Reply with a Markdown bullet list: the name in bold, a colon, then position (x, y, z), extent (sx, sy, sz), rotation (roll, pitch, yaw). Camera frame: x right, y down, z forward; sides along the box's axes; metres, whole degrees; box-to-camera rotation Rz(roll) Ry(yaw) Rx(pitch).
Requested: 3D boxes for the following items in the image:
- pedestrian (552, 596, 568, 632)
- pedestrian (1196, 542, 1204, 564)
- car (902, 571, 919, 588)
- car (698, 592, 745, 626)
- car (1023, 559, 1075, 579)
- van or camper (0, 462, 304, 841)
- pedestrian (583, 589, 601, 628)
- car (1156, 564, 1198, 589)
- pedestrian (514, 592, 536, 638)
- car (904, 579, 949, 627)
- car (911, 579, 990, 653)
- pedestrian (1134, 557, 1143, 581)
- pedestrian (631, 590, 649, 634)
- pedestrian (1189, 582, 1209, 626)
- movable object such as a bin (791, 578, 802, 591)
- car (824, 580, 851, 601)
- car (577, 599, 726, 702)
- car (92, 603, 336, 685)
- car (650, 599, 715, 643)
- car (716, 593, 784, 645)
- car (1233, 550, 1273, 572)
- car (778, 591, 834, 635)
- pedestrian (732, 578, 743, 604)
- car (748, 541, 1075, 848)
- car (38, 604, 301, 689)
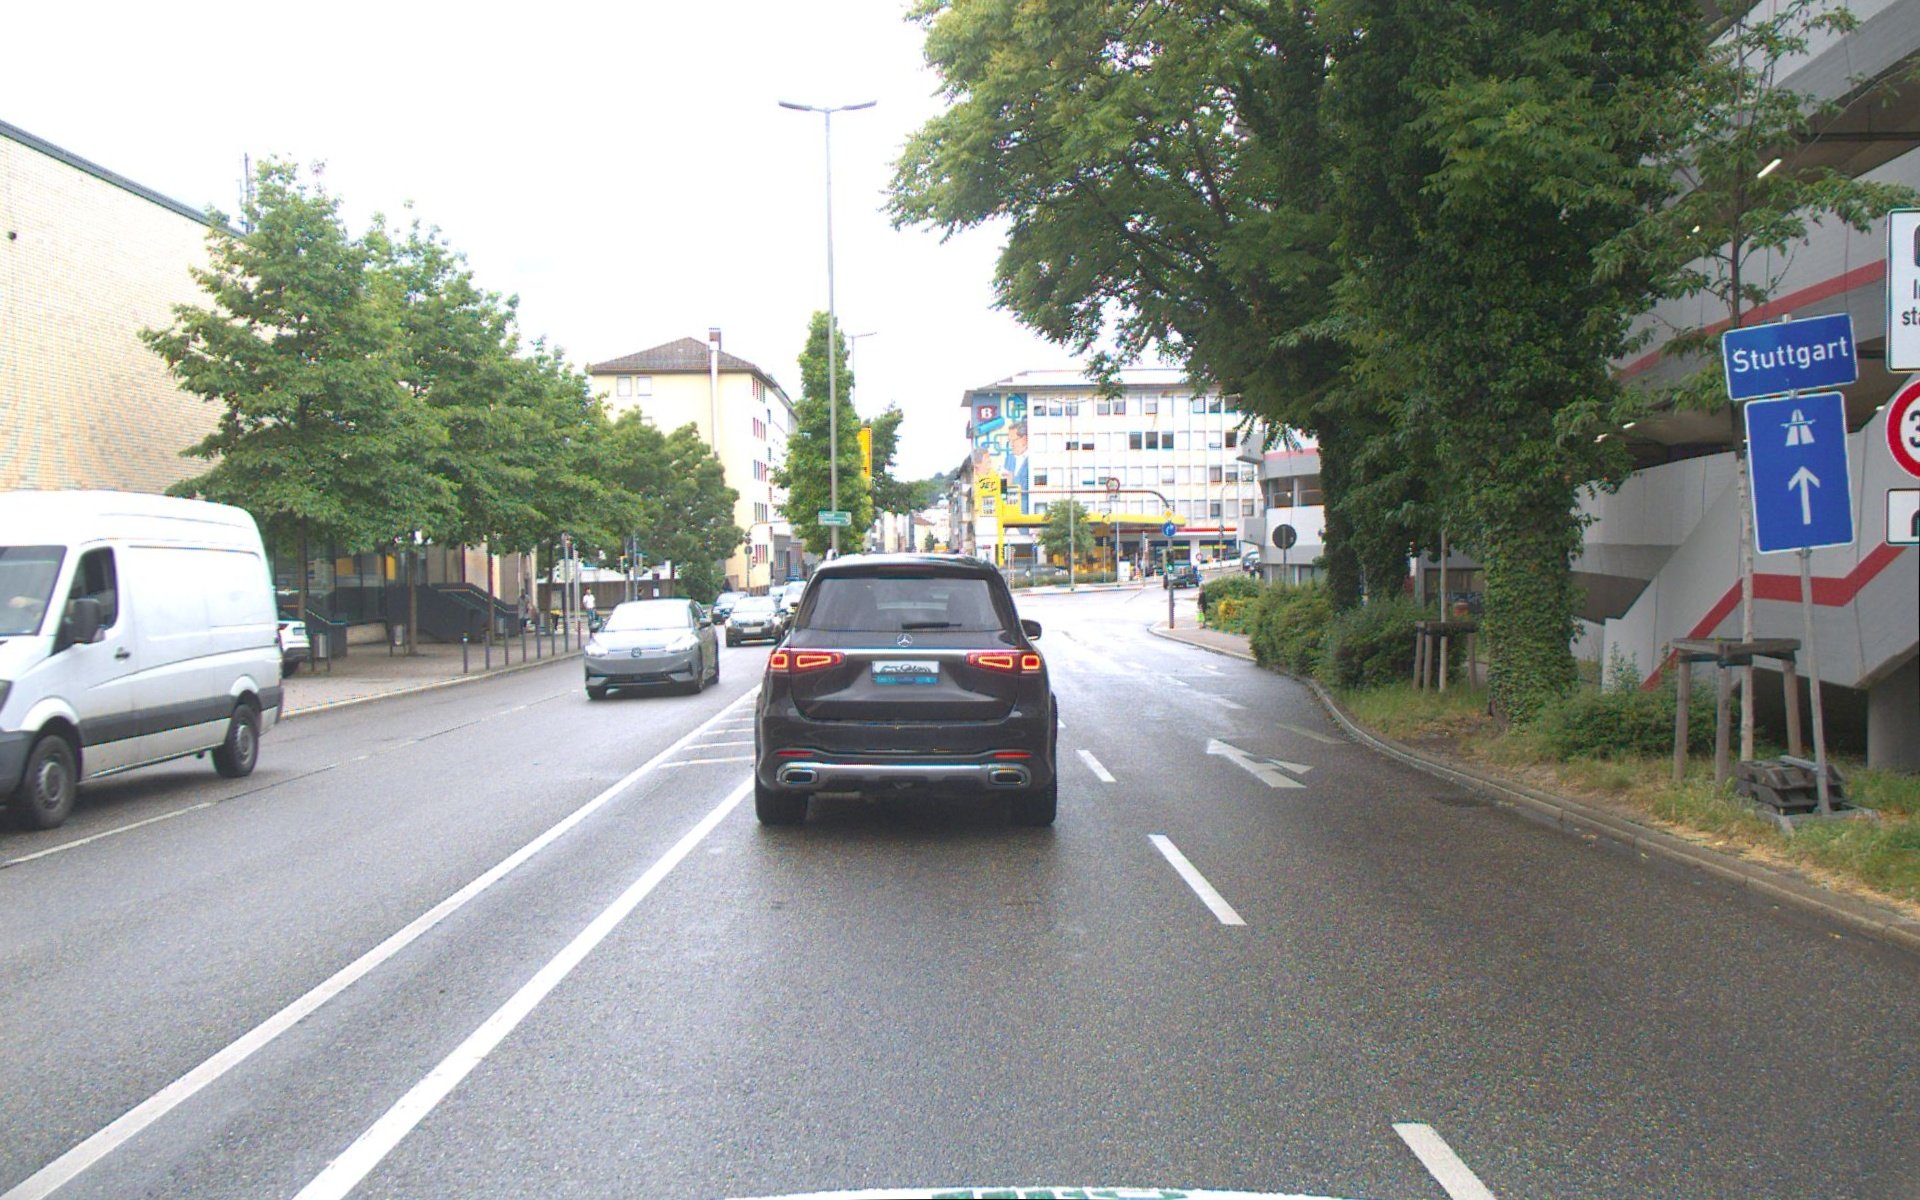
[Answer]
- **pedestrian**: position (-17.334, 0.597, 71.613), extent (0.429, 1.560, 0.546), rotation (-1, 1, 13)
- **pedestrian**: position (19.884, -3.894, 136.980), extent (0.515, 1.757, 0.688), rotation (0, 1, 26)
- **car**: position (-6.143, -2.560, 207.118), extent (1.953, 2.049, 4.000), rotation (1, -1, 0)
- **car**: position (-11.097, 0.419, 77.241), extent (1.710, 1.437, 3.969), rotation (-3, 0, -3)
- **car**: position (6.876, -2.397, 128.548), extent (1.724, 1.400, 3.935), rotation (-2, 1, -44)
- **van or camper**: position (-7.778, 0.390, 14.156), extent (2.060, 2.627, 5.906), rotation (-2, 0, -2)
- **pedestrian**: position (-15.968, 0.374, 71.729), extent (0.676, 1.685, 0.612), rotation (-2, 1, -8)
- **car**: position (14.436, -1.560, 109.906), extent (1.760, 1.552, 4.055), rotation (1, 1, 23)
- **pedestrian**: position (-16.279, 0.568, 61.861), extent (0.630, 1.695, 1.017), rotation (1, -1, -7)
- **car**: position (-1.497, 0.147, 74.985), extent (1.953, 2.049, 3.999), rotation (1, -1, -1)
- **car**: position (-0.276, 0.418, 43.524), extent (1.953, 1.832, 3.999), rotation (1, -1, -1)
- **pedestrian**: position (12.963, -2.247, 120.333), extent (0.560, 1.727, 0.631), rotation (1, -1, 0)
- **pedestrian**: position (-13.033, 0.480, 67.306), extent (0.675, 1.788, 0.716), rotation (-1, 1, -12)
- **pedestrian**: position (9.460, 0.160, 65.374), extent (0.634, 1.740, 0.470), rotation (0, -1, 35)
- **movable object such as a bin**: position (-13.888, -1.288, 140.619), extent (0.891, 1.056, 0.844), rotation (1, -1, 0)
- **car**: position (-9.697, -0.755, 131.229), extent (1.851, 1.614, 4.535), rotation (-3, 0, -2)
- **car**: position (-5.146, 0.789, 28.141), extent (1.846, 1.524, 4.559), rotation (-2, 0, -3)
- **car**: position (-15.317, 0.896, 34.135), extent (4.090, 1.574, 2.000), rotation (1, -1, 0)
- **car**: position (-10.104, 0.740, 60.467), extent (1.793, 1.412, 4.227), rotation (-3, 0, -3)
- **car**: position (-6.628, 0.593, 52.437), extent (1.776, 1.488, 4.285), rotation (-3, 0, -3)
- **car**: position (24.582, -3.284, 138.764), extent (1.958, 1.735, 3.990), rotation (-1, 1, 33)
- **car**: position (-7.043, 0.580, 76.019), extent (1.852, 1.843, 4.576), rotation (-3, 0, 2)
- **pedestrian**: position (-15.258, -0.645, 113.477), extent (0.635, 1.757, 0.628), rotation (-2, 1, -5)
- **car**: position (-0.318, 0.588, 12.023), extent (1.953, 1.832, 3.999), rotation (1, -1, -1)
- **car**: position (-15.115, 0.881, 31.836), extent (4.097, 1.521, 1.997), rotation (1, -1, -8)
